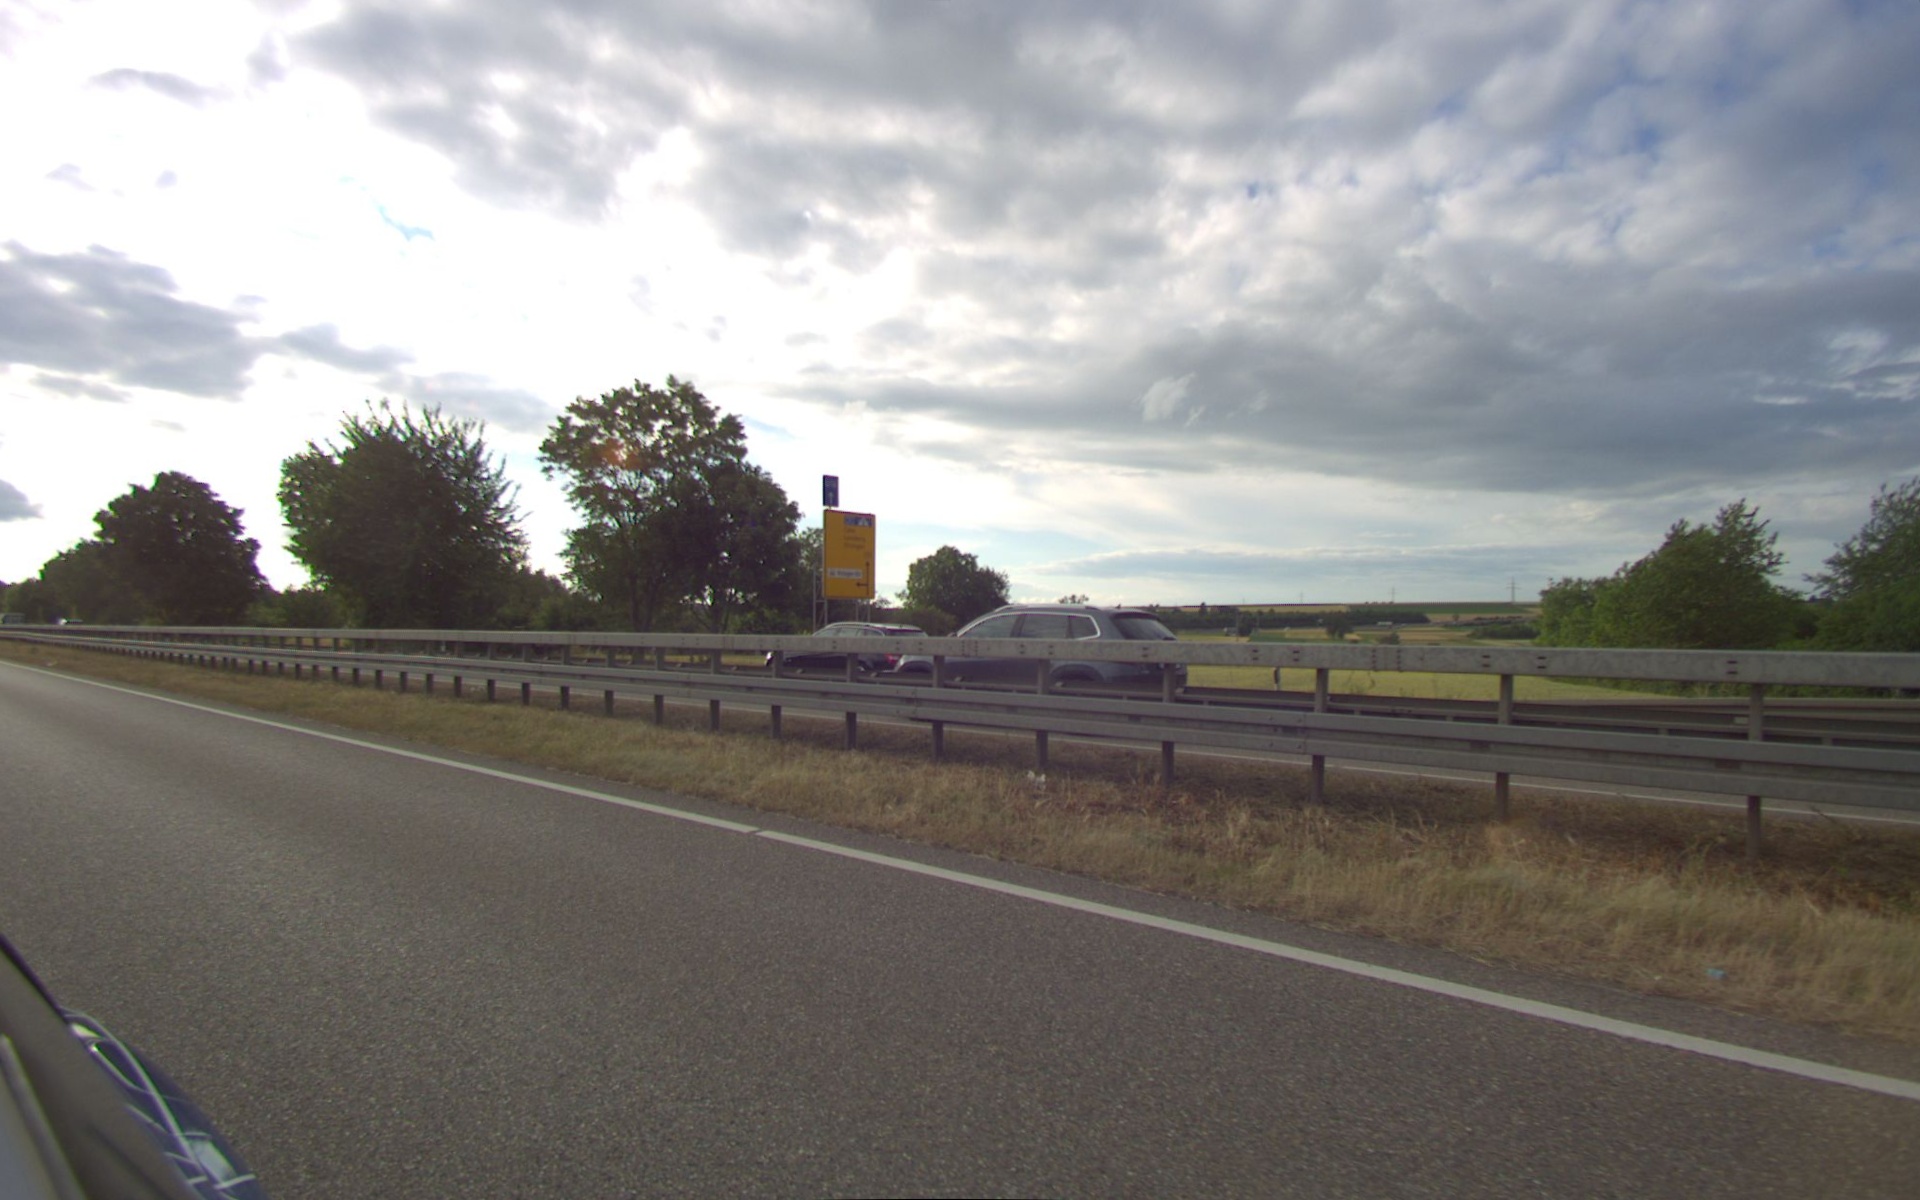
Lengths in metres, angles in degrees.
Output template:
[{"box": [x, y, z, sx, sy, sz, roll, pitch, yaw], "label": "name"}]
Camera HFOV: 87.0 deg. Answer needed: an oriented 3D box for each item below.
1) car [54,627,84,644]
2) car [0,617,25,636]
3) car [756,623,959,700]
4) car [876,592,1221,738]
[{"box": [-78.366, 3.108, 89.007, 3.470, 1.390, 1.585, -1, 0, 41], "label": "car"}, {"box": [-85.479, 2.336, 90.726, 4.374, 1.648, 1.912, -1, -2, 41], "label": "car"}, {"box": [-2.325, 1.263, 22.186, 4.459, 1.489, 1.887, -1, 0, 41], "label": "car"}, {"box": [1.052, 0.803, 13.458, 4.374, 1.627, 1.779, -1, -4, 41], "label": "car"}]
